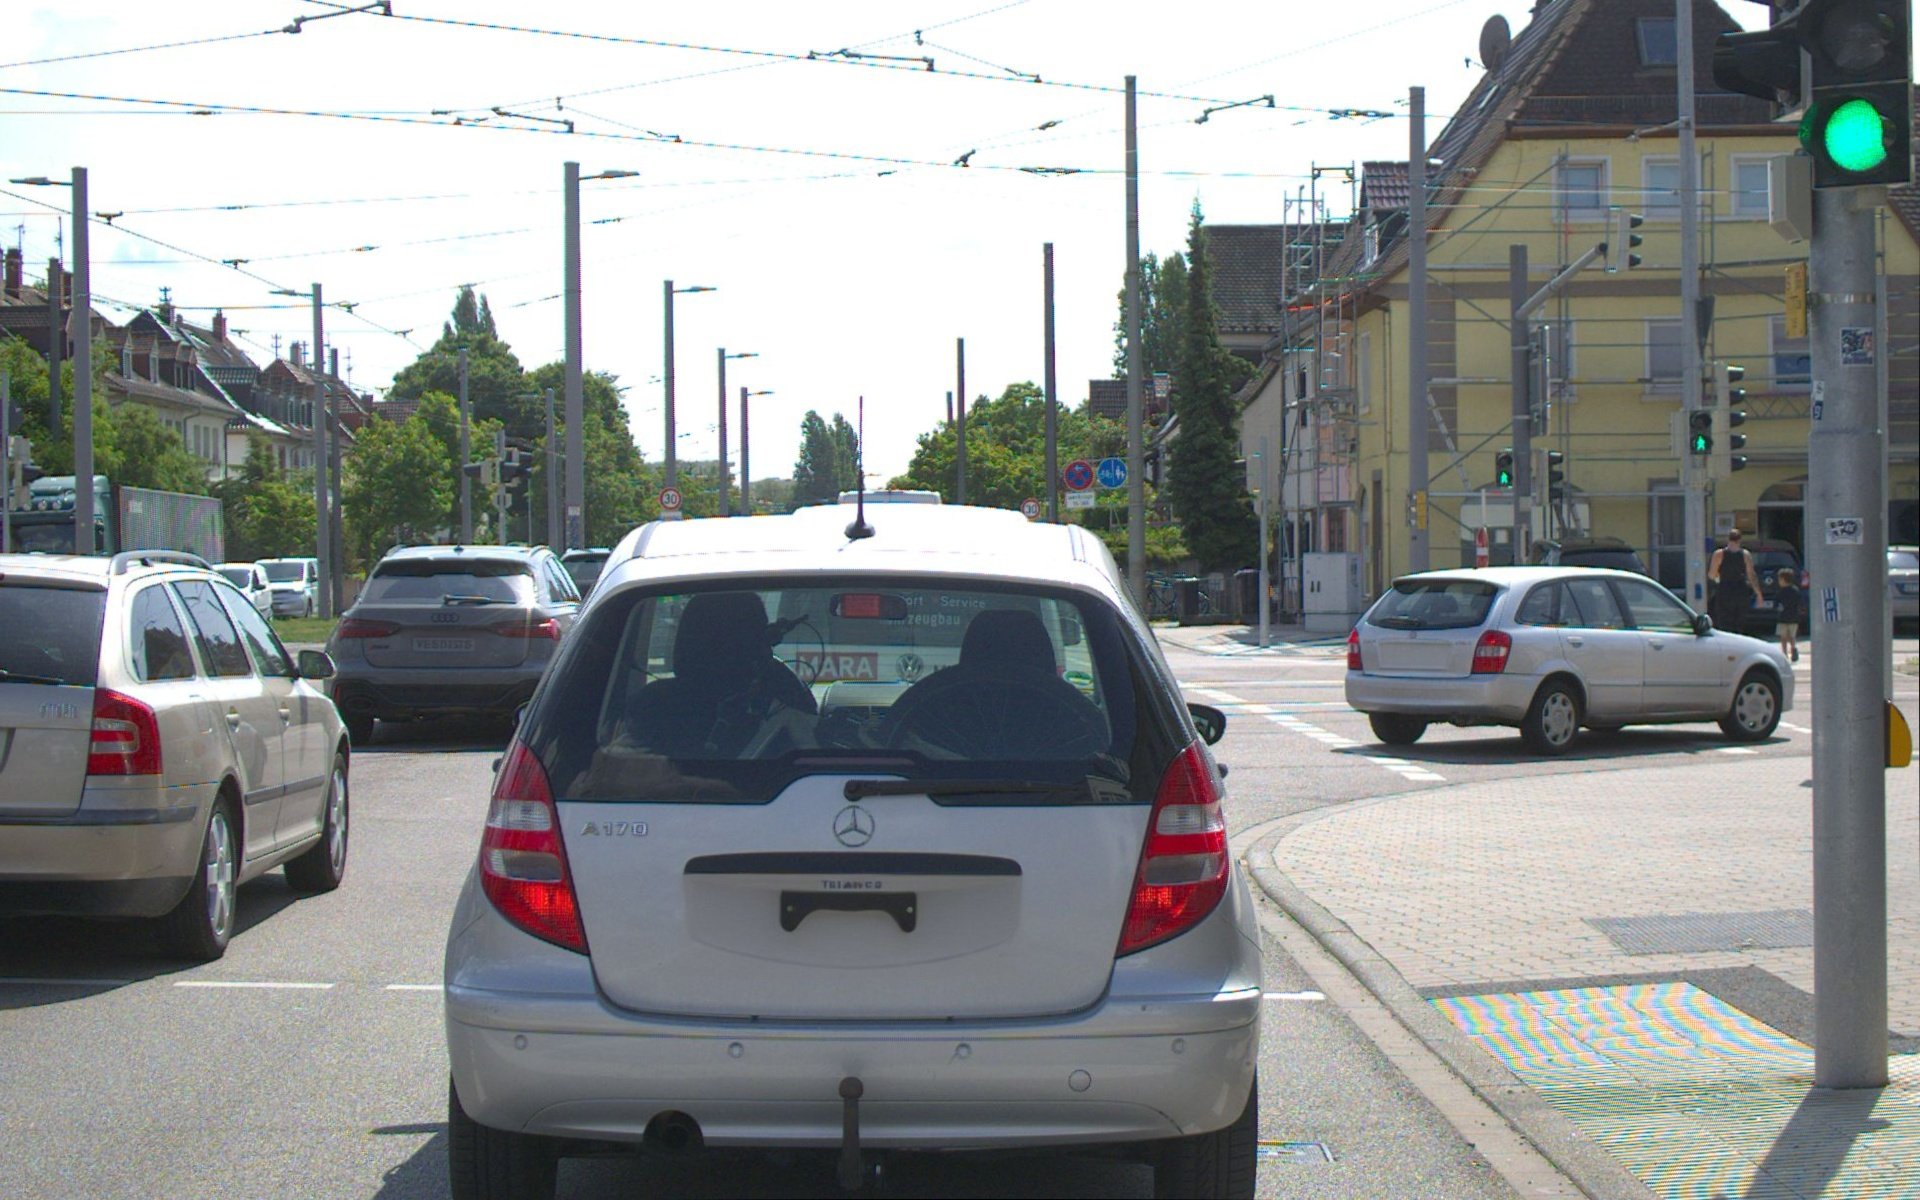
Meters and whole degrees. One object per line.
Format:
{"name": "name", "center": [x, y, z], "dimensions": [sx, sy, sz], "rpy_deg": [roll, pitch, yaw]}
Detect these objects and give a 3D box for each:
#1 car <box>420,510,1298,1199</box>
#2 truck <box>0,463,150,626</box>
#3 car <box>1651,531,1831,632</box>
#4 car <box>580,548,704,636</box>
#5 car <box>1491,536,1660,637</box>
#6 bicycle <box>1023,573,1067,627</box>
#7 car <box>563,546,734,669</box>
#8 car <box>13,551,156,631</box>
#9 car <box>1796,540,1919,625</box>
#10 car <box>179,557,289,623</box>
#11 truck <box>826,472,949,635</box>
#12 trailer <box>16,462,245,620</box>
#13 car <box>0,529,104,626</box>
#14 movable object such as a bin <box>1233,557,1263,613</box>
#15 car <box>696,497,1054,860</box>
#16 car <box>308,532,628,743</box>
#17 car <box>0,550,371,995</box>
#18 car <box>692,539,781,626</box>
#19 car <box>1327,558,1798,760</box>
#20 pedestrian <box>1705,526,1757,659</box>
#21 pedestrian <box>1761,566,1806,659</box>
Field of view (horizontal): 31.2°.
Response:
{"name": "car", "center": [-0.312, 0.584, 8.876], "dimensions": [1.729, 1.512, 4.017], "rpy_deg": [1, 0, -3]}
{"name": "truck", "center": [-22.130, -1.387, 84.910], "dimensions": [2.599, 3.808, 5.667], "rpy_deg": [-3, 1, 2]}
{"name": "car", "center": [13.024, -0.301, 57.557], "dimensions": [1.993, 1.590, 4.131], "rpy_deg": [1, 0, -1]}
{"name": "car", "center": [-5.254, -0.134, 57.194], "dimensions": [1.852, 1.384, 3.919], "rpy_deg": [1, 0, -3]}
{"name": "car", "center": [10.188, -0.223, 57.199], "dimensions": [1.993, 1.590, 4.131], "rpy_deg": [1, 0, -1]}
{"name": "bicycle", "center": [1.760, -0.006, 71.582], "dimensions": [0.650, 1.114, 1.588], "rpy_deg": [1, 0, -8]}
{"name": "car", "center": [-3.719, 0.075, 41.718], "dimensions": [1.852, 1.384, 4.515], "rpy_deg": [1, 0, -3]}
{"name": "car", "center": [-18.979, -0.197, 74.709], "dimensions": [1.993, 1.547, 4.178], "rpy_deg": [-4, 0, -1]}
{"name": "car", "center": [15.460, -0.279, 57.498], "dimensions": [1.867, 1.347, 4.131], "rpy_deg": [1, 0, -1]}
{"name": "car", "center": [-18.761, -0.259, 89.031], "dimensions": [1.794, 1.631, 4.471], "rpy_deg": [-1, 0, 1]}
{"name": "truck", "center": [-1.263, -0.750, 57.224], "dimensions": [1.852, 2.543, 5.855], "rpy_deg": [1, 0, -3]}
{"name": "trailer", "center": [-21.963, -1.648, 91.916], "dimensions": [2.599, 3.808, 12.837], "rpy_deg": [-3, 1, 1]}
{"name": "car", "center": [-17.969, -0.431, 65.409], "dimensions": [1.993, 1.770, 4.878], "rpy_deg": [-2, 1, 1]}
{"name": "movable object such as a bin", "center": [5.682, -0.295, 67.936], "dimensions": [0.511, 1.101, 0.855], "rpy_deg": [0, 0, 0]}
{"name": "car", "center": [-0.498, 0.378, 18.911], "dimensions": [1.730, 1.756, 4.017], "rpy_deg": [1, 0, -2]}
{"name": "car", "center": [-3.742, 0.250, 26.894], "dimensions": [1.916, 1.472, 4.562], "rpy_deg": [1, 0, -1]}
{"name": "car", "center": [-3.489, 0.536, 13.351], "dimensions": [1.731, 1.444, 4.123], "rpy_deg": [1, 1, -1]}
{"name": "car", "center": [-4.884, -0.384, 75.416], "dimensions": [1.852, 1.837, 3.919], "rpy_deg": [1, 0, -3]}
{"name": "car", "center": [4.828, 0.408, 27.221], "dimensions": [1.734, 1.398, 4.006], "rpy_deg": [4, 3, 43]}
{"name": "pedestrian", "center": [9.546, -0.094, 42.597], "dimensions": [0.547, 1.638, 0.401], "rpy_deg": [1, 0, 4]}
{"name": "pedestrian", "center": [10.181, 0.150, 42.504], "dimensions": [0.488, 1.132, 0.388], "rpy_deg": [1, 0, 8]}
